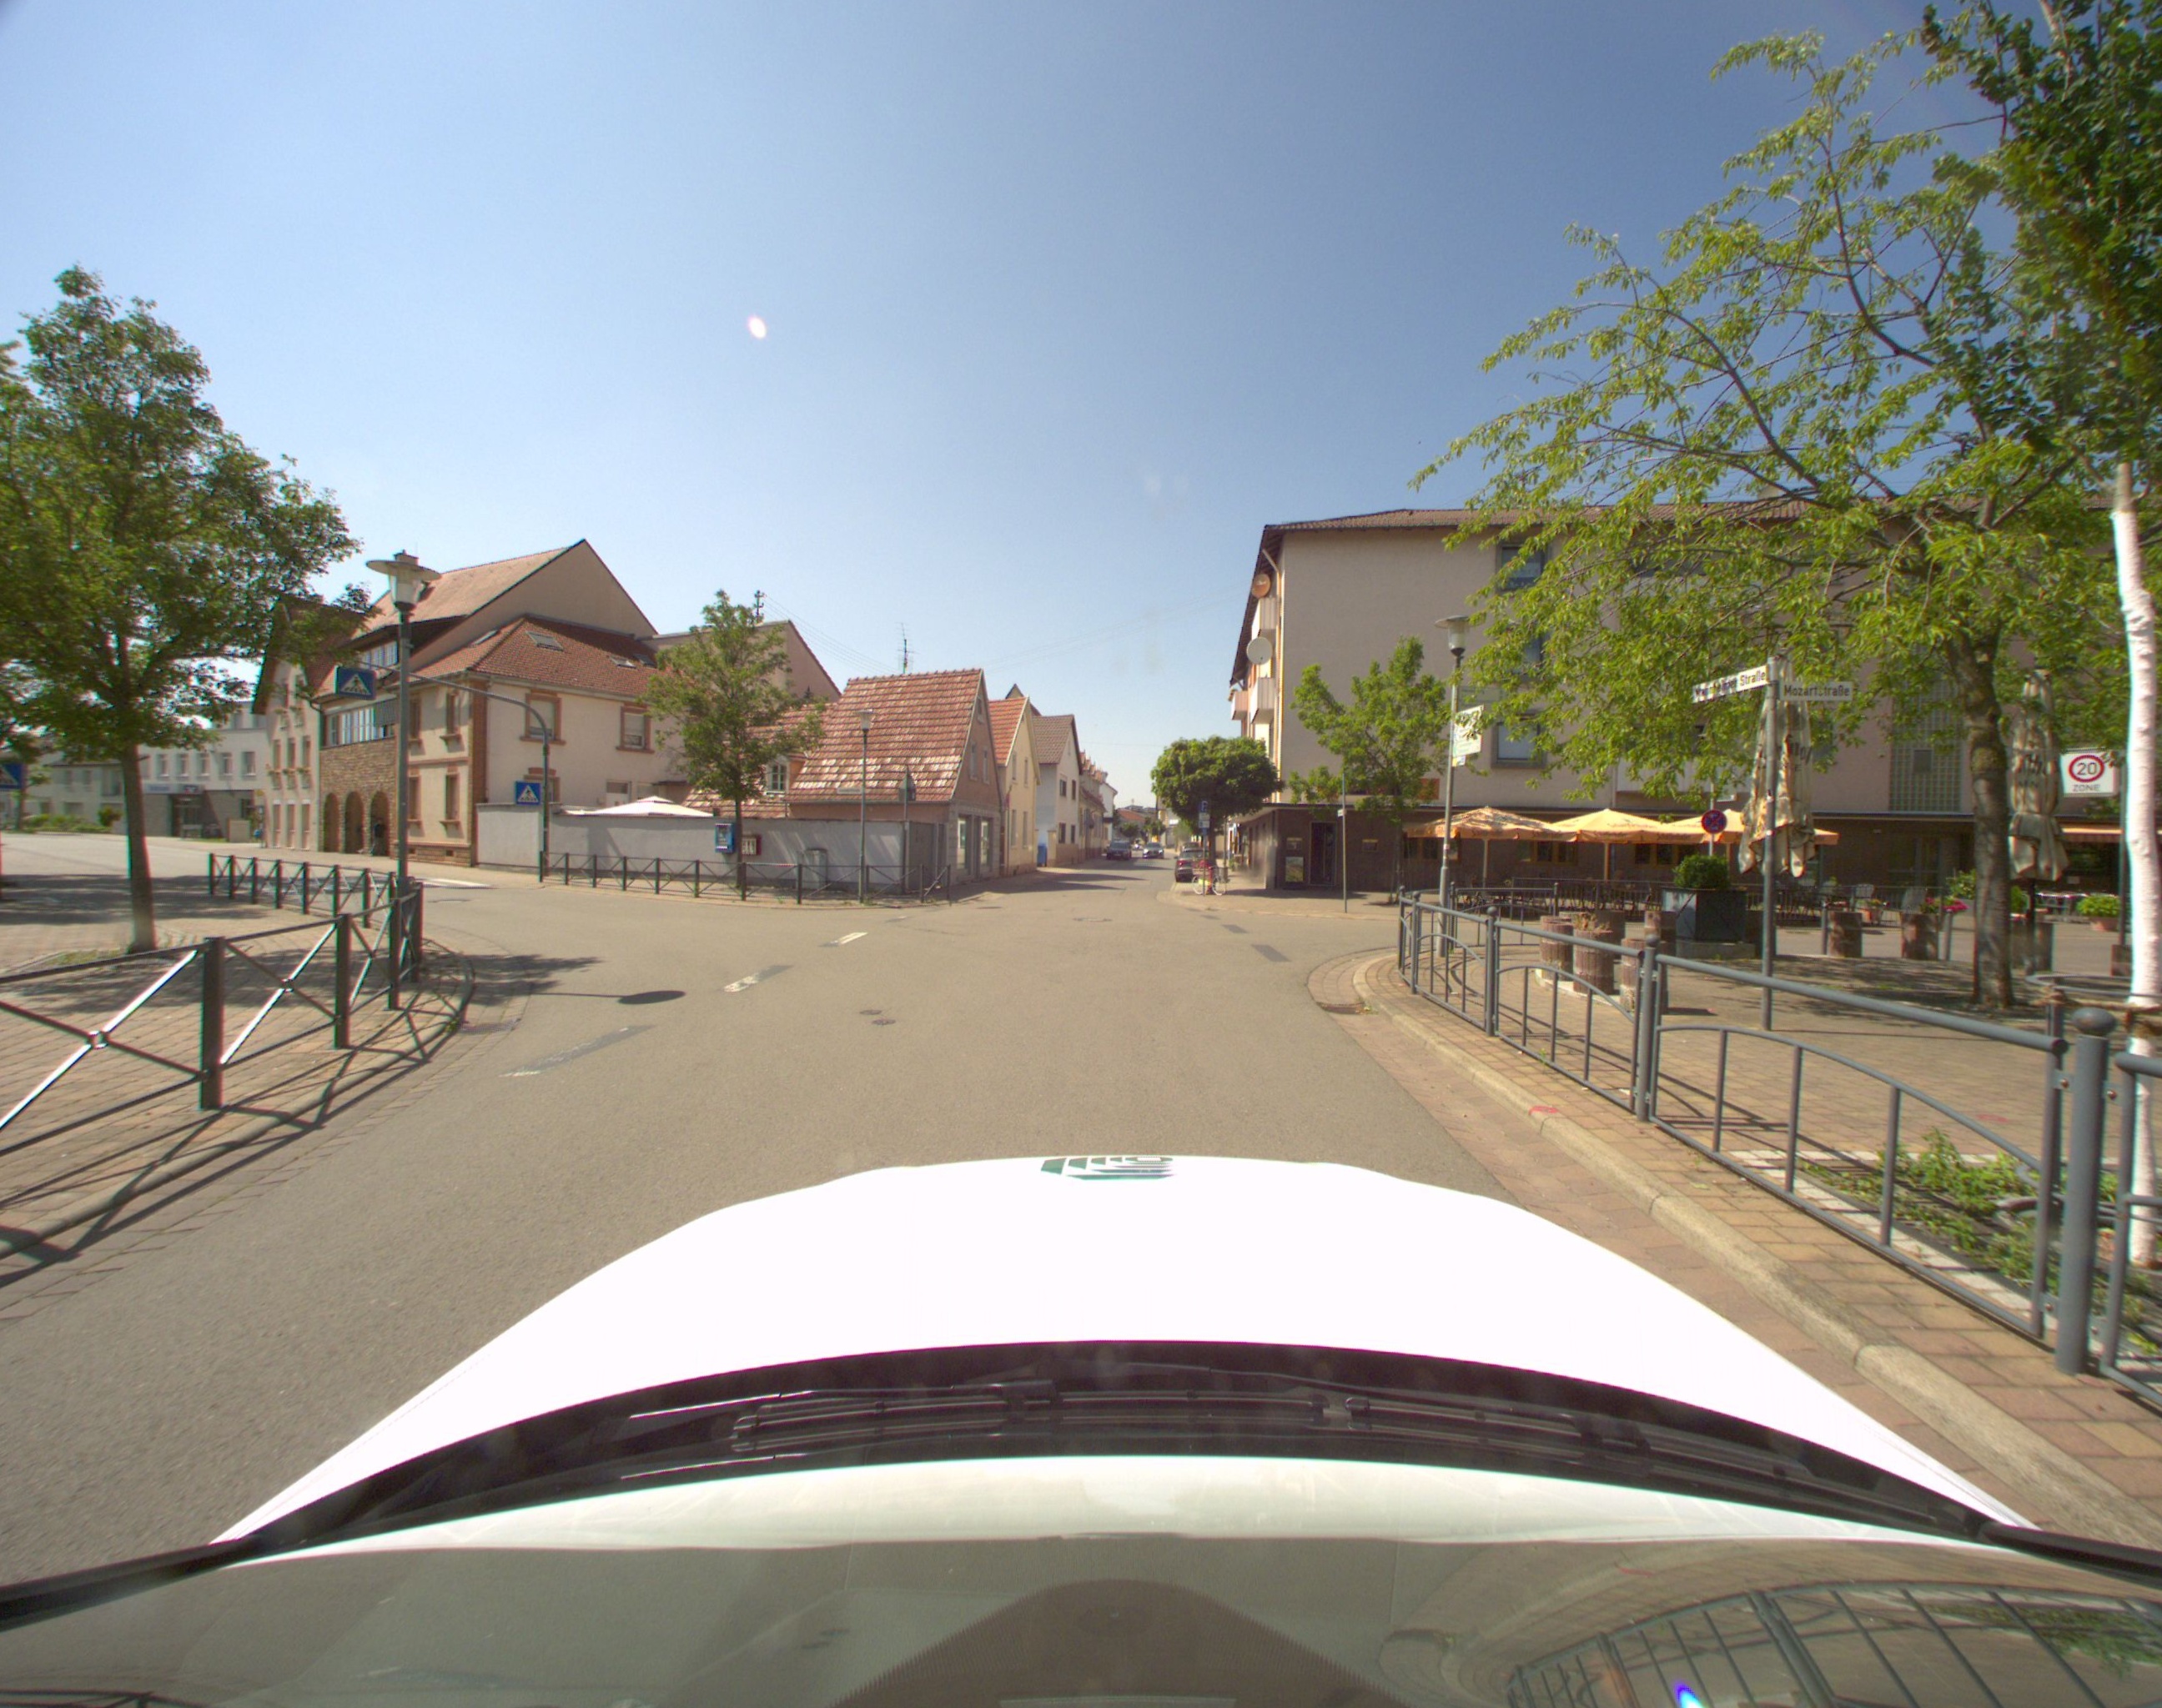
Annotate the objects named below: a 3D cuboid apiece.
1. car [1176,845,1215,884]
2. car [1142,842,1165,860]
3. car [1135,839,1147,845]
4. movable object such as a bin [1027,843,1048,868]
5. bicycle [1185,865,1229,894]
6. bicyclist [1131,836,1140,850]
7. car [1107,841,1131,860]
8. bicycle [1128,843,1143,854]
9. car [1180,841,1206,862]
[{"bbox_3d":[4.931,0.393,34.829,1.567,1.453,3.495,1,2,9],"label":"car"},{"bbox_3d":[6.453,-0.228,72.482,1.900,1.481,4.851,-2,0,5],"label":"car"},{"bbox_3d":[14.269,-2.862,193.899,2.012,1.598,4.527,1,1,15],"label":"car"},{"bbox_3d":[-2.421,0.057,45.360,1.095,1.365,0.391,1,1,10],"label":"movable object such as a bin"},{"bbox_3d":[4.051,0.813,26.231,1.396,0.897,0.468,0,1,44],"label":"bicycle"},{"bbox_3d":[6.900,-1.377,102.479,1.042,1.637,1.129,0,1,1],"label":"bicyclist"},{"bbox_3d":[3.091,-0.321,66.322,1.654,1.476,4.142,1,1,6],"label":"car"},{"bbox_3d":[6.844,-0.728,102.558,1.618,1.370,3.927,0,1,1],"label":"bicycle"},{"bbox_3d":[9.404,-0.263,68.471,2.032,1.688,4.851,1,1,7],"label":"car"}]
